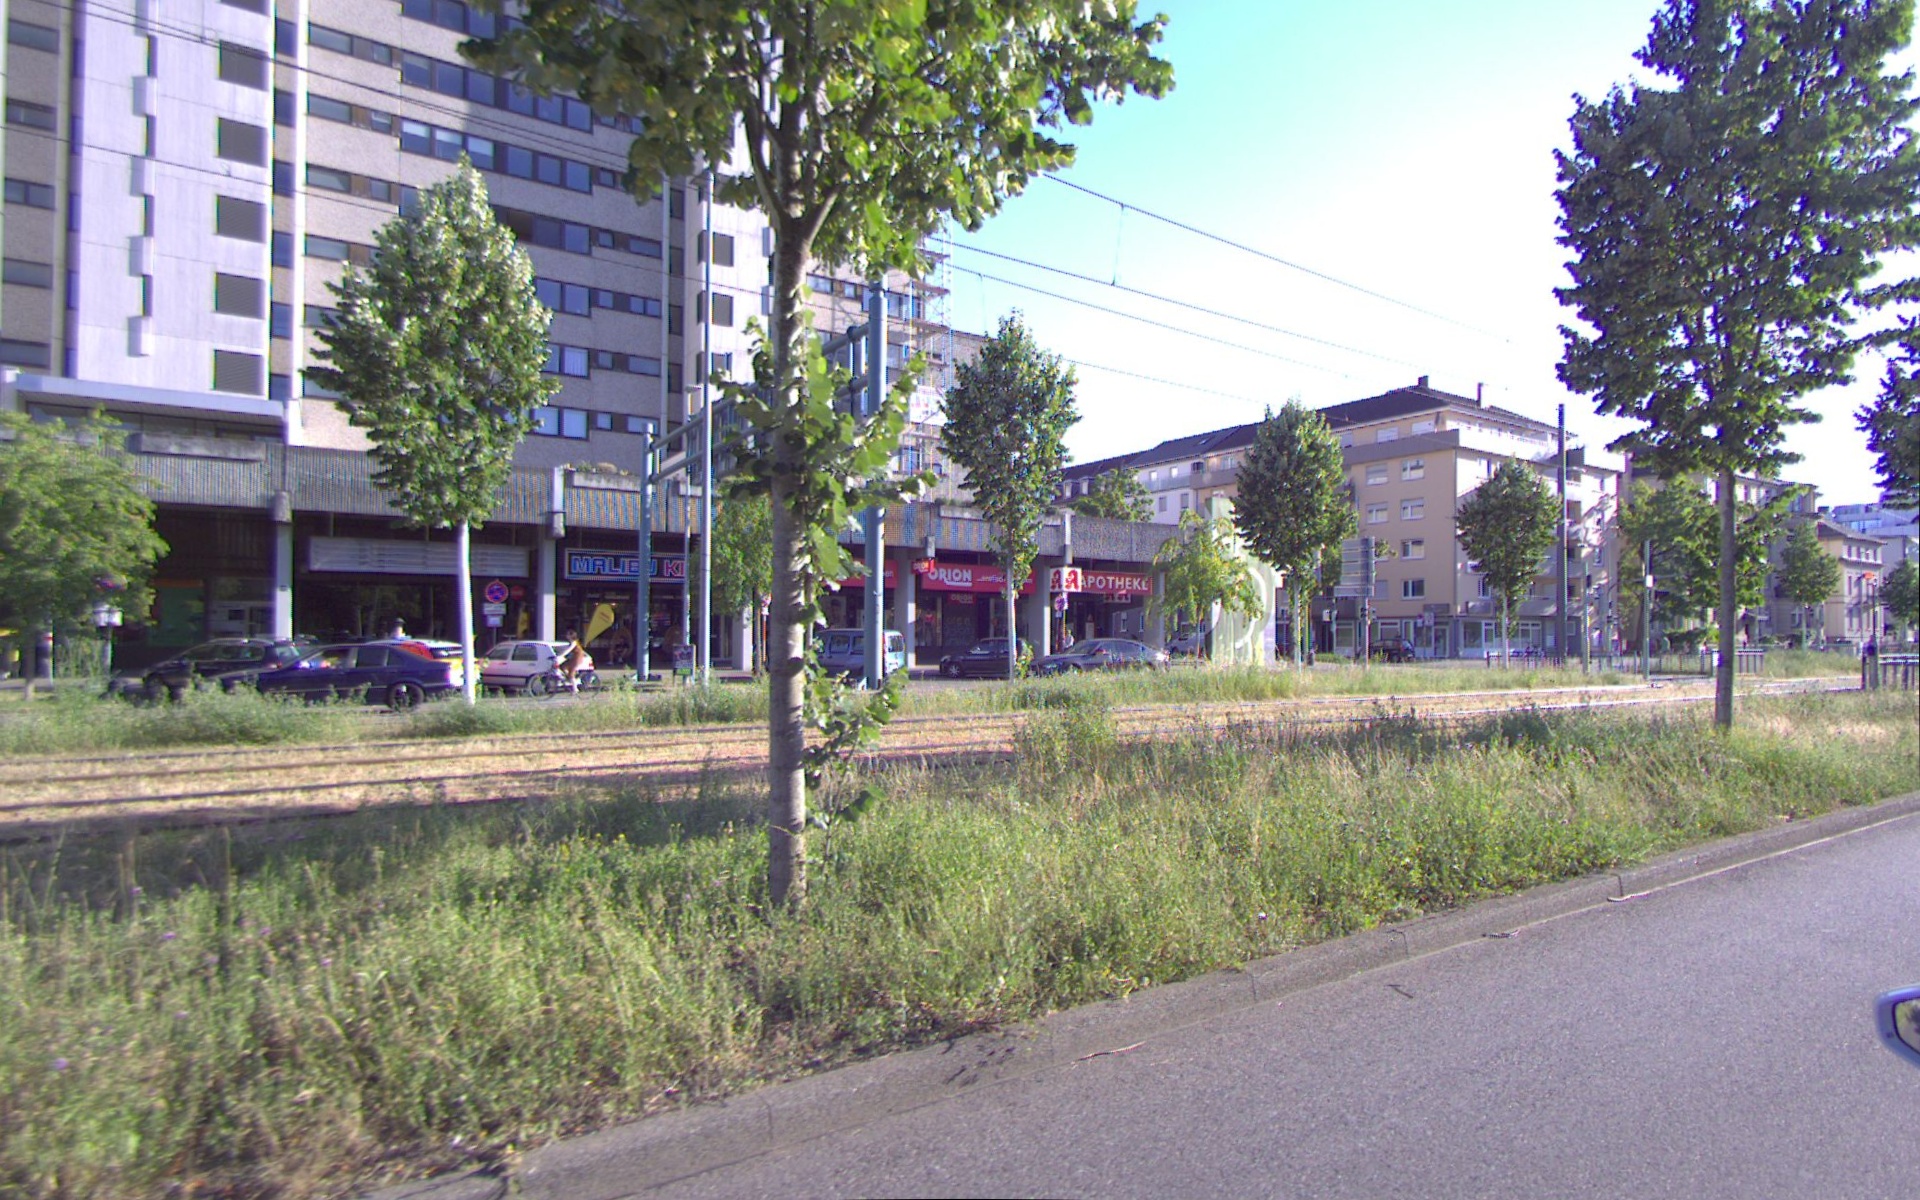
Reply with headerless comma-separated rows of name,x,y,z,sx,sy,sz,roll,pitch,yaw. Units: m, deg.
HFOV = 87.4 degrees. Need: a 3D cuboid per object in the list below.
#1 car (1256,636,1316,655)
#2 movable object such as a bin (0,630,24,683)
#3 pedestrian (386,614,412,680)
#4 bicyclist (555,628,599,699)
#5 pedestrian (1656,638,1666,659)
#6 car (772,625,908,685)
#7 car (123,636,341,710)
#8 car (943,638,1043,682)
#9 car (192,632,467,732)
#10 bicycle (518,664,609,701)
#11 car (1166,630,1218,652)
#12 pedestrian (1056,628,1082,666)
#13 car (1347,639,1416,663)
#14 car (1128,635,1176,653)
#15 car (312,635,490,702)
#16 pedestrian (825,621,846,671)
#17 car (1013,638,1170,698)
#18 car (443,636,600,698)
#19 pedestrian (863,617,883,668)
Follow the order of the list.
car,24.304,3.390,74.925,1.978,1.321,3.965,2,-2,-32
movable object such as a bin,-25.697,1.491,26.645,1.079,1.389,1.111,1,-2,-34
pedestrian,-17.640,1.458,31.567,0.647,2.040,0.544,1,-2,-33
bicyclist,-9.773,1.602,25.634,0.910,1.768,0.554,1,-2,-35
pedestrian,53.009,3.654,75.935,0.444,1.576,0.515,1,-2,-36
car,-3.954,1.781,33.185,4.112,1.713,1.622,2,0,17
car,-17.343,1.703,23.970,4.455,1.464,1.622,2,0,12
car,1.245,2.189,37.305,3.396,1.421,1.622,2,0,14
car,-12.471,1.580,20.141,4.441,1.725,1.859,2,0,-33
bicycle,-10.013,2.079,25.406,2.082,0.874,0.433,2,-2,-35
car,19.046,3.364,82.564,1.978,1.766,3.965,1,-2,-32
pedestrian,4.864,2.089,44.990,0.873,1.661,0.770,1,-2,-34
car,28.385,3.396,67.730,1.828,1.516,3.964,2,-2,-33
car,16.581,3.804,86.980,1.828,1.452,3.964,1,-2,-33
car,-14.422,1.728,25.981,3.724,1.464,1.791,2,0,12
pedestrian,-5.097,1.875,41.169,0.647,2.040,0.544,1,-2,-33
car,4.001,2.031,30.336,4.590,1.609,1.859,2,0,-33
car,-12.052,1.805,27.682,3.716,1.464,1.622,2,0,14
pedestrian,-3.539,1.712,40.843,0.647,2.040,0.544,1,-2,-33
